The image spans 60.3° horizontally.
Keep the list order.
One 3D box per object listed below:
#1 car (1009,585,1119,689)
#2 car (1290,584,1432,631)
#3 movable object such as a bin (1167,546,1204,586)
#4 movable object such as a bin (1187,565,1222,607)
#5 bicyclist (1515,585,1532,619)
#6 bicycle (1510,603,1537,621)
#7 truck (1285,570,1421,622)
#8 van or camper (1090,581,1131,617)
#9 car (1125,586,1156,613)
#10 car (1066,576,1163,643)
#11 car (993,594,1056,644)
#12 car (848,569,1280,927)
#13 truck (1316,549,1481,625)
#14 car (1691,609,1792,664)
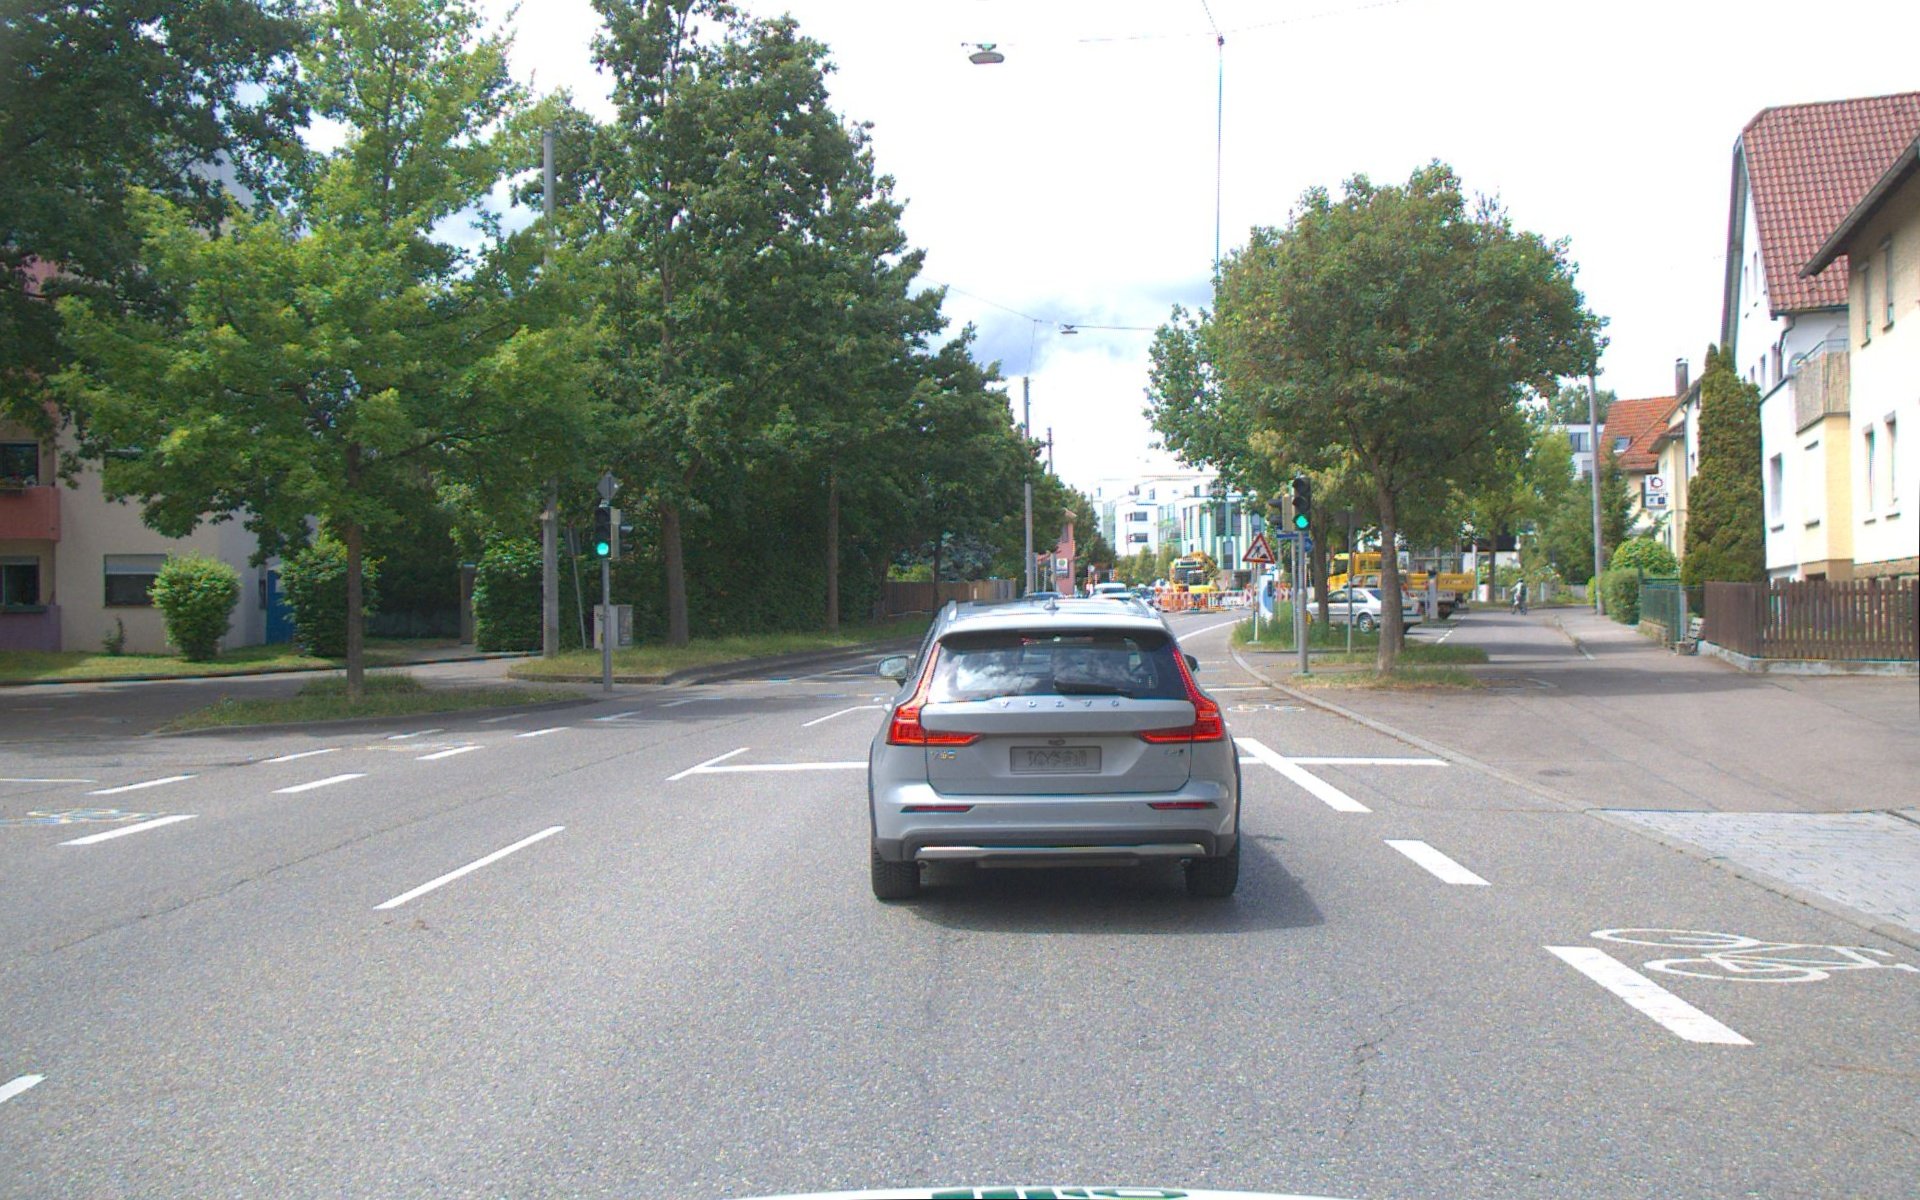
[{"bbox_3d":[1.647,0.583,27.018,1.627,1.534,3.703,2,-1,2],"label":"car"},{"bbox_3d":[13.009,0.222,53.973,1.746,1.477,4.637,0,0,-32],"label":"car"},{"bbox_3d":[18.040,-2.649,132.494,2.262,3.042,6.429,-2,0,3],"label":"movable object such as a bin"},{"bbox_3d":[16.132,-0.933,109.121,1.991,2.689,5.945,-2,0,10],"label":"movable object such as a bin"},{"bbox_3d":[26.581,0.116,78.021,0.577,1.586,0.566,1,-1,-2],"label":"bicyclist"},{"bbox_3d":[26.564,0.541,77.980,0.582,0.826,1.753,1,0,-2],"label":"bicycle"},{"bbox_3d":[16.286,-0.170,68.838,1.977,2.049,5.607,2,-1,-35],"label":"truck"},{"bbox_3d":[7.869,-0.070,86.066,1.821,1.807,4.384,-1,0,9],"label":"van or camper"},{"bbox_3d":[12.309,-0.024,112.513,1.951,1.768,4.003,1,-1,8],"label":"car"},{"bbox_3d":[3.899,0.249,41.188,2.057,1.536,4.003,1,-1,10],"label":"car"},{"bbox_3d":[2.272,0.654,57.697,1.858,1.607,4.003,-2,-1,6],"label":"car"},{"bbox_3d":[0.529,0.666,9.285,1.888,1.567,4.001,0,0,2],"label":"car"},{"bbox_3d":[18.638,-0.542,70.608,2.737,3.061,6.626,2,-1,-34],"label":"truck"},{"bbox_3d":[17.428,0.801,37.009,1.431,1.144,3.874,1,-1,16],"label":"car"}]
